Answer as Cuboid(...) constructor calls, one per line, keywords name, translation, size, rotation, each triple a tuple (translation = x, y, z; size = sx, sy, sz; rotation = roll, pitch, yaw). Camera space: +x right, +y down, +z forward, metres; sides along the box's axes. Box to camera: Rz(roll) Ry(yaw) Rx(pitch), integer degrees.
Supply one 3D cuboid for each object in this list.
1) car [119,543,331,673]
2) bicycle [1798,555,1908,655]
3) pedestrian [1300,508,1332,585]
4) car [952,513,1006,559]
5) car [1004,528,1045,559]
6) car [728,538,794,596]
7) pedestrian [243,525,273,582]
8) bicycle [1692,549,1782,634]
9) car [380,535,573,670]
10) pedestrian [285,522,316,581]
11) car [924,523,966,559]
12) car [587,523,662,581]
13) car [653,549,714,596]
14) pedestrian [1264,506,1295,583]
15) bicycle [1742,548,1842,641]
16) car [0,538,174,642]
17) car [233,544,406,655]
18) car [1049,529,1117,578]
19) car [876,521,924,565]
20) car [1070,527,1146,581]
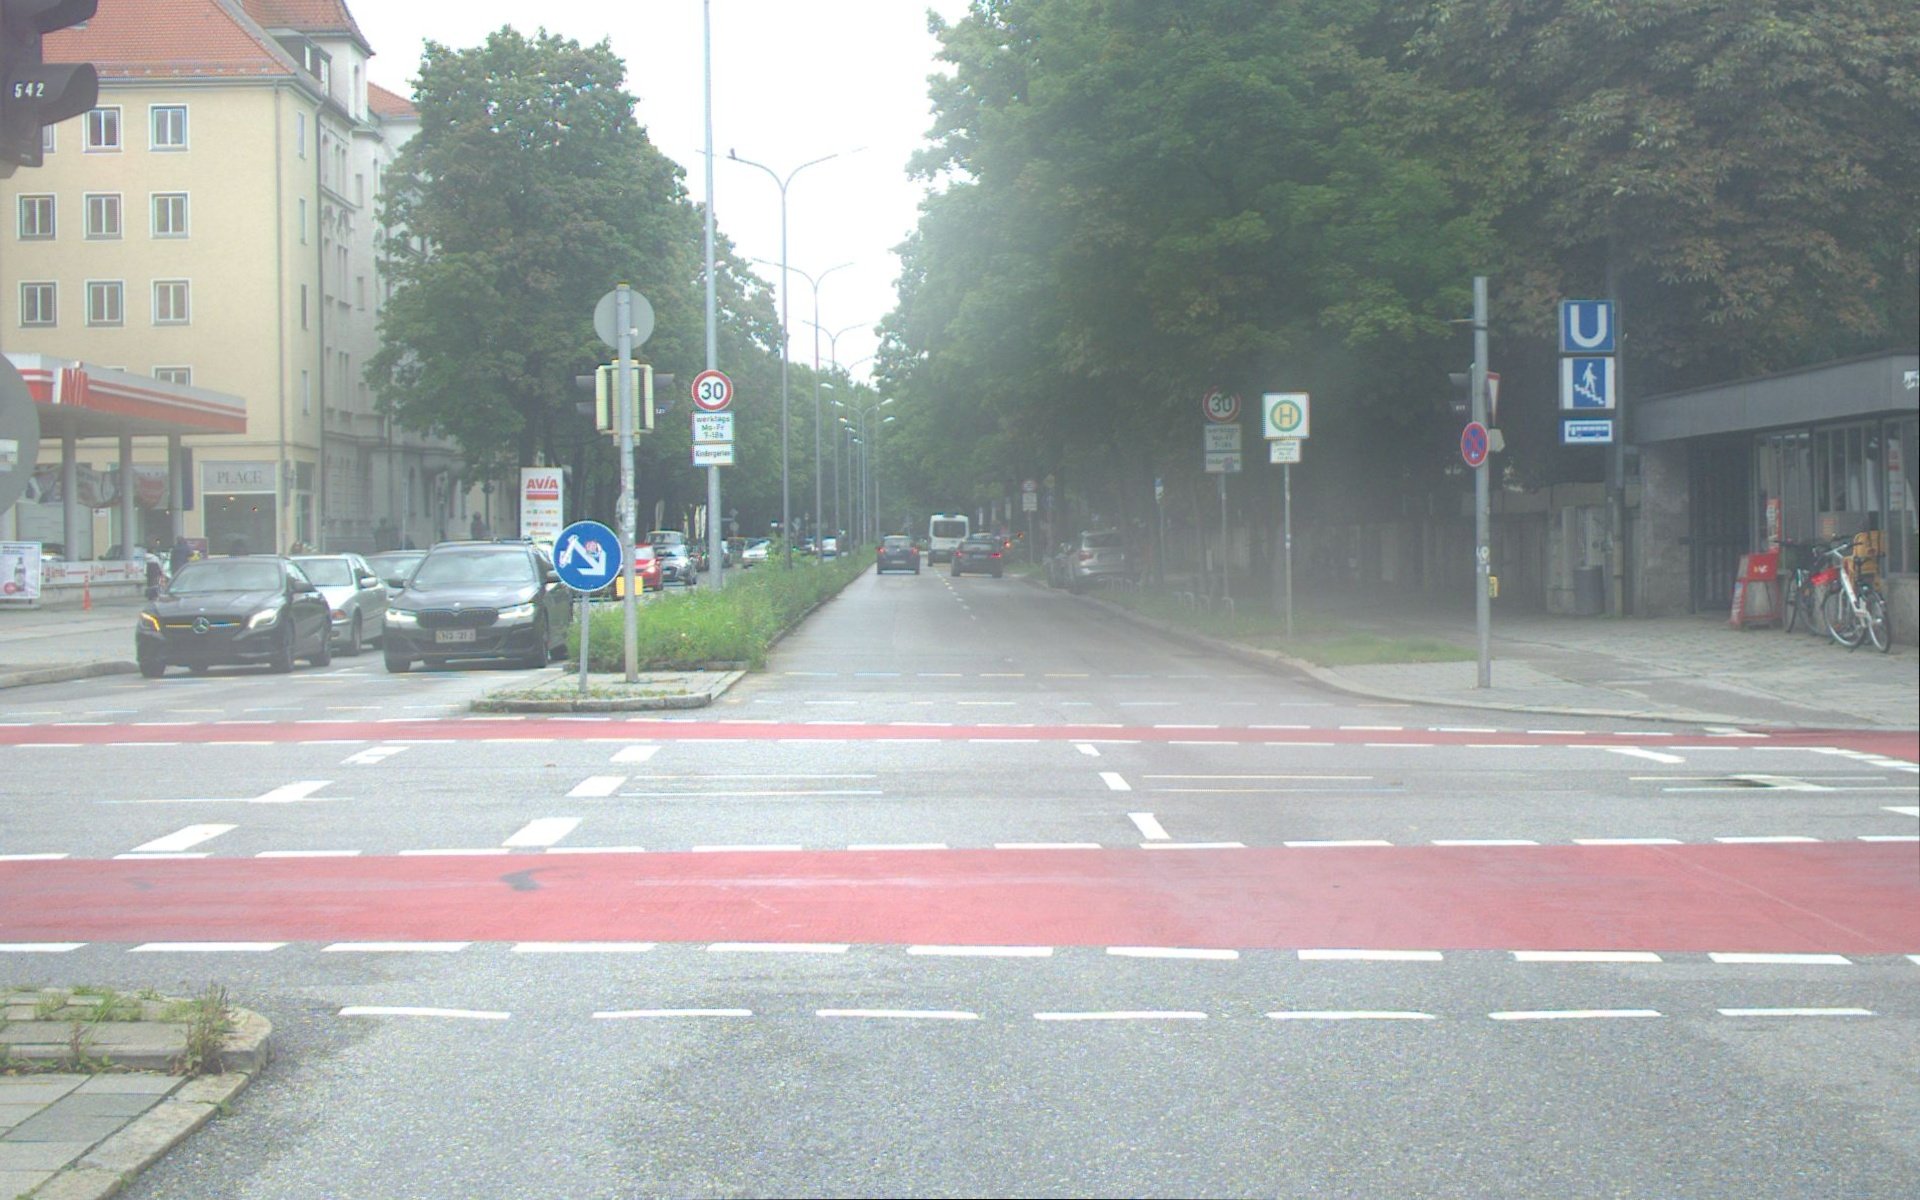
Cuboid(name="car", translation=(-8.850, 0.065, 41.700), size=(1.759, 1.455, 4.000), rotation=(-1, 1, -1))
Cuboid(name="bicycle", translation=(9.438, 0.037, 36.393), size=(0.556, 1.011, 2.016), rotation=(-1, 1, -3))
Cuboid(name="pedestrian", translation=(7.850, -1.188, 75.794), size=(0.678, 1.677, 0.682), rotation=(0, 1, 5))
Cuboid(name="car", translation=(0.690, -2.402, 129.120), size=(1.922, 1.678, 4.000), rotation=(1, 1, -1))
Cuboid(name="car", translation=(2.991, -2.624, 159.679), size=(1.743, 1.422, 3.899), rotation=(-1, 1, -1))
Cuboid(name="car", translation=(-4.952, -0.835, 85.774), size=(1.468, 1.394, 3.700), rotation=(-1, 1, -1))
Cuboid(name="pedestrian", translation=(-20.065, -1.332, 98.232), size=(0.696, 1.632, 0.738), rotation=(-1, 1, 0))
Cuboid(name="bicycle", translation=(9.594, -0.119, 42.495), size=(0.556, 1.011, 2.016), rotation=(-1, 1, -3))
Cuboid(name="car", translation=(-5.658, -0.010, 40.637), size=(1.759, 1.488, 4.000), rotation=(-1, 1, -1))
Cuboid(name="pedestrian", translation=(-18.353, -1.362, 95.698), size=(0.696, 1.632, 0.738), rotation=(-1, 1, 0))
Cuboid(name="car", translation=(-0.743, -2.912, 168.769), size=(1.993, 1.750, 4.000), rotation=(-1, 1, -1))
Cuboid(name="car", translation=(-9.915, -1.431, 101.912), size=(1.876, 1.662, 4.000), rotation=(-1, 1, -1))
Cuboid(name="car", translation=(-9.171, -0.927, 114.410), size=(1.759, 1.488, 4.000), rotation=(-1, 1, -1))
Cuboid(name="pedestrian", translation=(7.013, -1.218, 75.448), size=(0.678, 1.677, 0.682), rotation=(0, 1, 5))
Cuboid(name="bicycle", translation=(9.451, -0.082, 39.125), size=(0.556, 1.011, 2.016), rotation=(-1, 1, -3))
Cuboid(name="car", translation=(-14.925, -0.172, 55.613), size=(1.815, 1.603, 3.958), rotation=(0, 2, 42))
Cuboid(name="car", translation=(-9.027, -0.039, 48.742), size=(1.759, 1.455, 4.000), rotation=(-1, 1, -1))
Cuboid(name="car", translation=(3.562, -1.372, 99.920), size=(1.743, 1.358, 3.807), rotation=(-1, 1, -1))
Cuboid(name="car", translation=(-2.347, -2.234, 134.773), size=(1.857, 1.678, 4.000), rotation=(-1, 1, -1))
Cuboid(name="car", translation=(3.859, -1.217, 89.993), size=(1.743, 1.358, 3.807), rotation=(-1, 1, -1))
